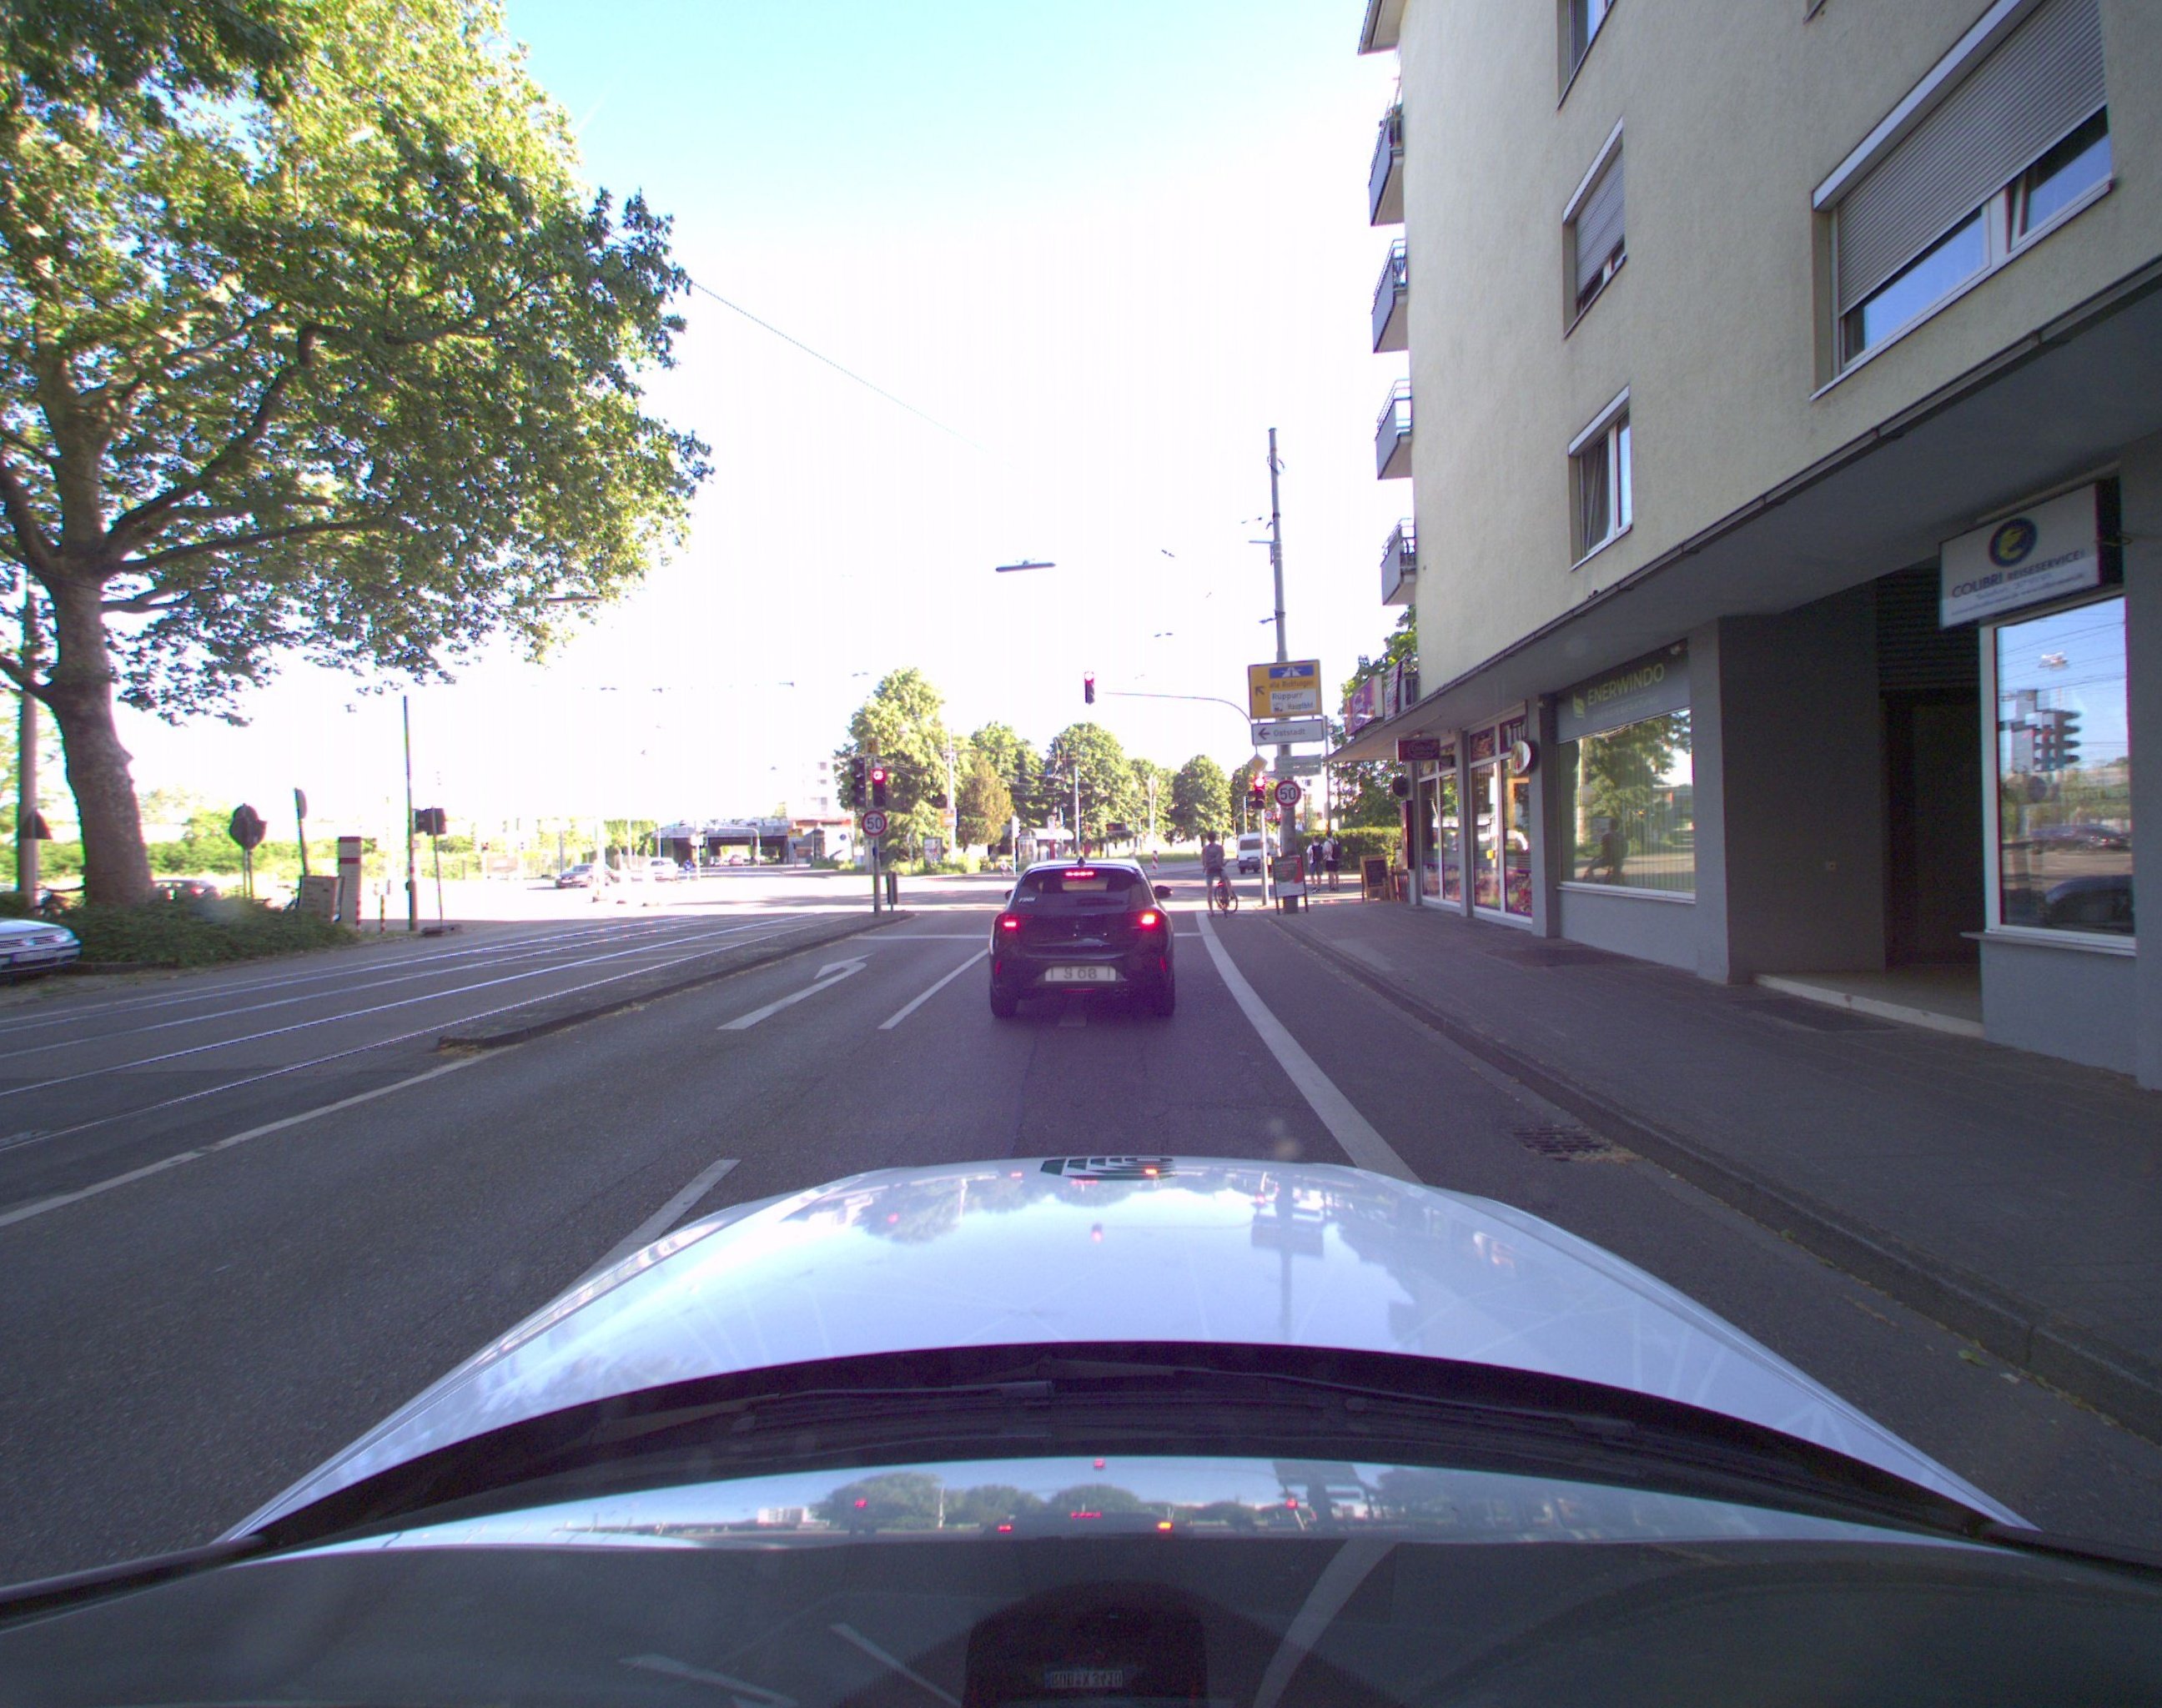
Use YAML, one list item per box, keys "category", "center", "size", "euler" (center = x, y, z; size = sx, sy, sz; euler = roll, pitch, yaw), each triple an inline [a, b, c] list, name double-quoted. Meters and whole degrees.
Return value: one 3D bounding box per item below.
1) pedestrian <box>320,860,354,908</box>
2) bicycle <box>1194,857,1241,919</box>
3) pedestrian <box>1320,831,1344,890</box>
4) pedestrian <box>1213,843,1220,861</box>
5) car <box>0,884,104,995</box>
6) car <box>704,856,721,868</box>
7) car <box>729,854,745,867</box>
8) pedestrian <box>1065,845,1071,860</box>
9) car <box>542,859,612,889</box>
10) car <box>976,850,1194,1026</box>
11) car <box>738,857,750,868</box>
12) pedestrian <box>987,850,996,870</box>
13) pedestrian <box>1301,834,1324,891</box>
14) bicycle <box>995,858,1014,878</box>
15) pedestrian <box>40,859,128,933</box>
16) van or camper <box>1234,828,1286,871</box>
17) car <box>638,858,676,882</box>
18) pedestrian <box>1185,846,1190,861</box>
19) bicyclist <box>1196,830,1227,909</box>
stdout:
- category: "pedestrian"
  center: [-26.435, 1.051, 28.940]
  size: [0.778, 1.661, 0.945]
  euler: [0, -1, -36]
- category: "bicycle"
  center: [3.026, 0.716, 17.944]
  size: [0.747, 1.235, 2.024]
  euler: [-2, 0, 16]
- category: "pedestrian"
  center: [7.846, 0.198, 25.426]
  size: [0.627, 1.820, 0.749]
  euler: [-1, -1, 22]
- category: "pedestrian"
  center: [14.080, -0.211, 84.391]
  size: [0.598, 1.872, 0.522]
  euler: [-1, -1, 19]
- category: "car"
  center: [-16.626, 1.196, 11.337]
  size: [3.957, 1.453, 1.670]
  euler: [-1, 0, -1]
- category: "car"
  center: [-50.140, 1.064, 110.796]
  size: [1.892, 1.585, 3.809]
  euler: [0, -1, -21]
- category: "car"
  center: [-50.038, 0.939, 118.548]
  size: [1.916, 1.881, 4.811]
  euler: [-2, 0, -21]
- category: "pedestrian"
  center: [-1.699, -0.196, 108.594]
  size: [0.736, 1.872, 0.661]
  euler: [0, -1, -4]
- category: "car"
  center: [-30.226, 1.163, 49.000]
  size: [1.795, 1.662, 4.348]
  euler: [-2, 0, -6]
- category: "car"
  center: [0.096, 0.703, 8.925]
  size: [1.833, 1.462, 3.985]
  euler: [-1, 0, 2]
- category: "car"
  center: [-54.318, 1.402, 131.245]
  size: [1.761, 1.684, 3.713]
  euler: [0, -1, -22]
- category: "pedestrian"
  center: [-6.751, 0.426, 61.329]
  size: [0.568, 1.472, 0.666]
  euler: [-2, 0, 1]
- category: "pedestrian"
  center: [7.264, 0.275, 25.566]
  size: [0.627, 1.763, 0.585]
  euler: [-1, -1, 22]
- category: "bicycle"
  center: [-4.362, 0.770, 46.535]
  size: [0.793, 1.064, 2.186]
  euler: [-2, 0, 2]
- category: "pedestrian"
  center: [-22.835, 0.943, 18.679]
  size: [0.842, 1.647, 0.931]
  euler: [0, -1, 1]
- category: "van or camper"
  center: [10.193, -0.222, 46.202]
  size: [2.011, 2.310, 4.565]
  euler: [-1, -1, 23]
- category: "car"
  center: [-29.216, 1.068, 56.203]
  size: [1.892, 1.585, 3.809]
  euler: [0, -1, -21]
- category: "pedestrian"
  center: [12.982, -0.082, 99.261]
  size: [0.600, 1.872, 0.521]
  euler: [-1, -1, 8]
- category: "bicyclist"
  center: [2.868, 0.337, 17.839]
  size: [0.529, 1.692, 0.571]
  euler: [-2, 0, 19]
